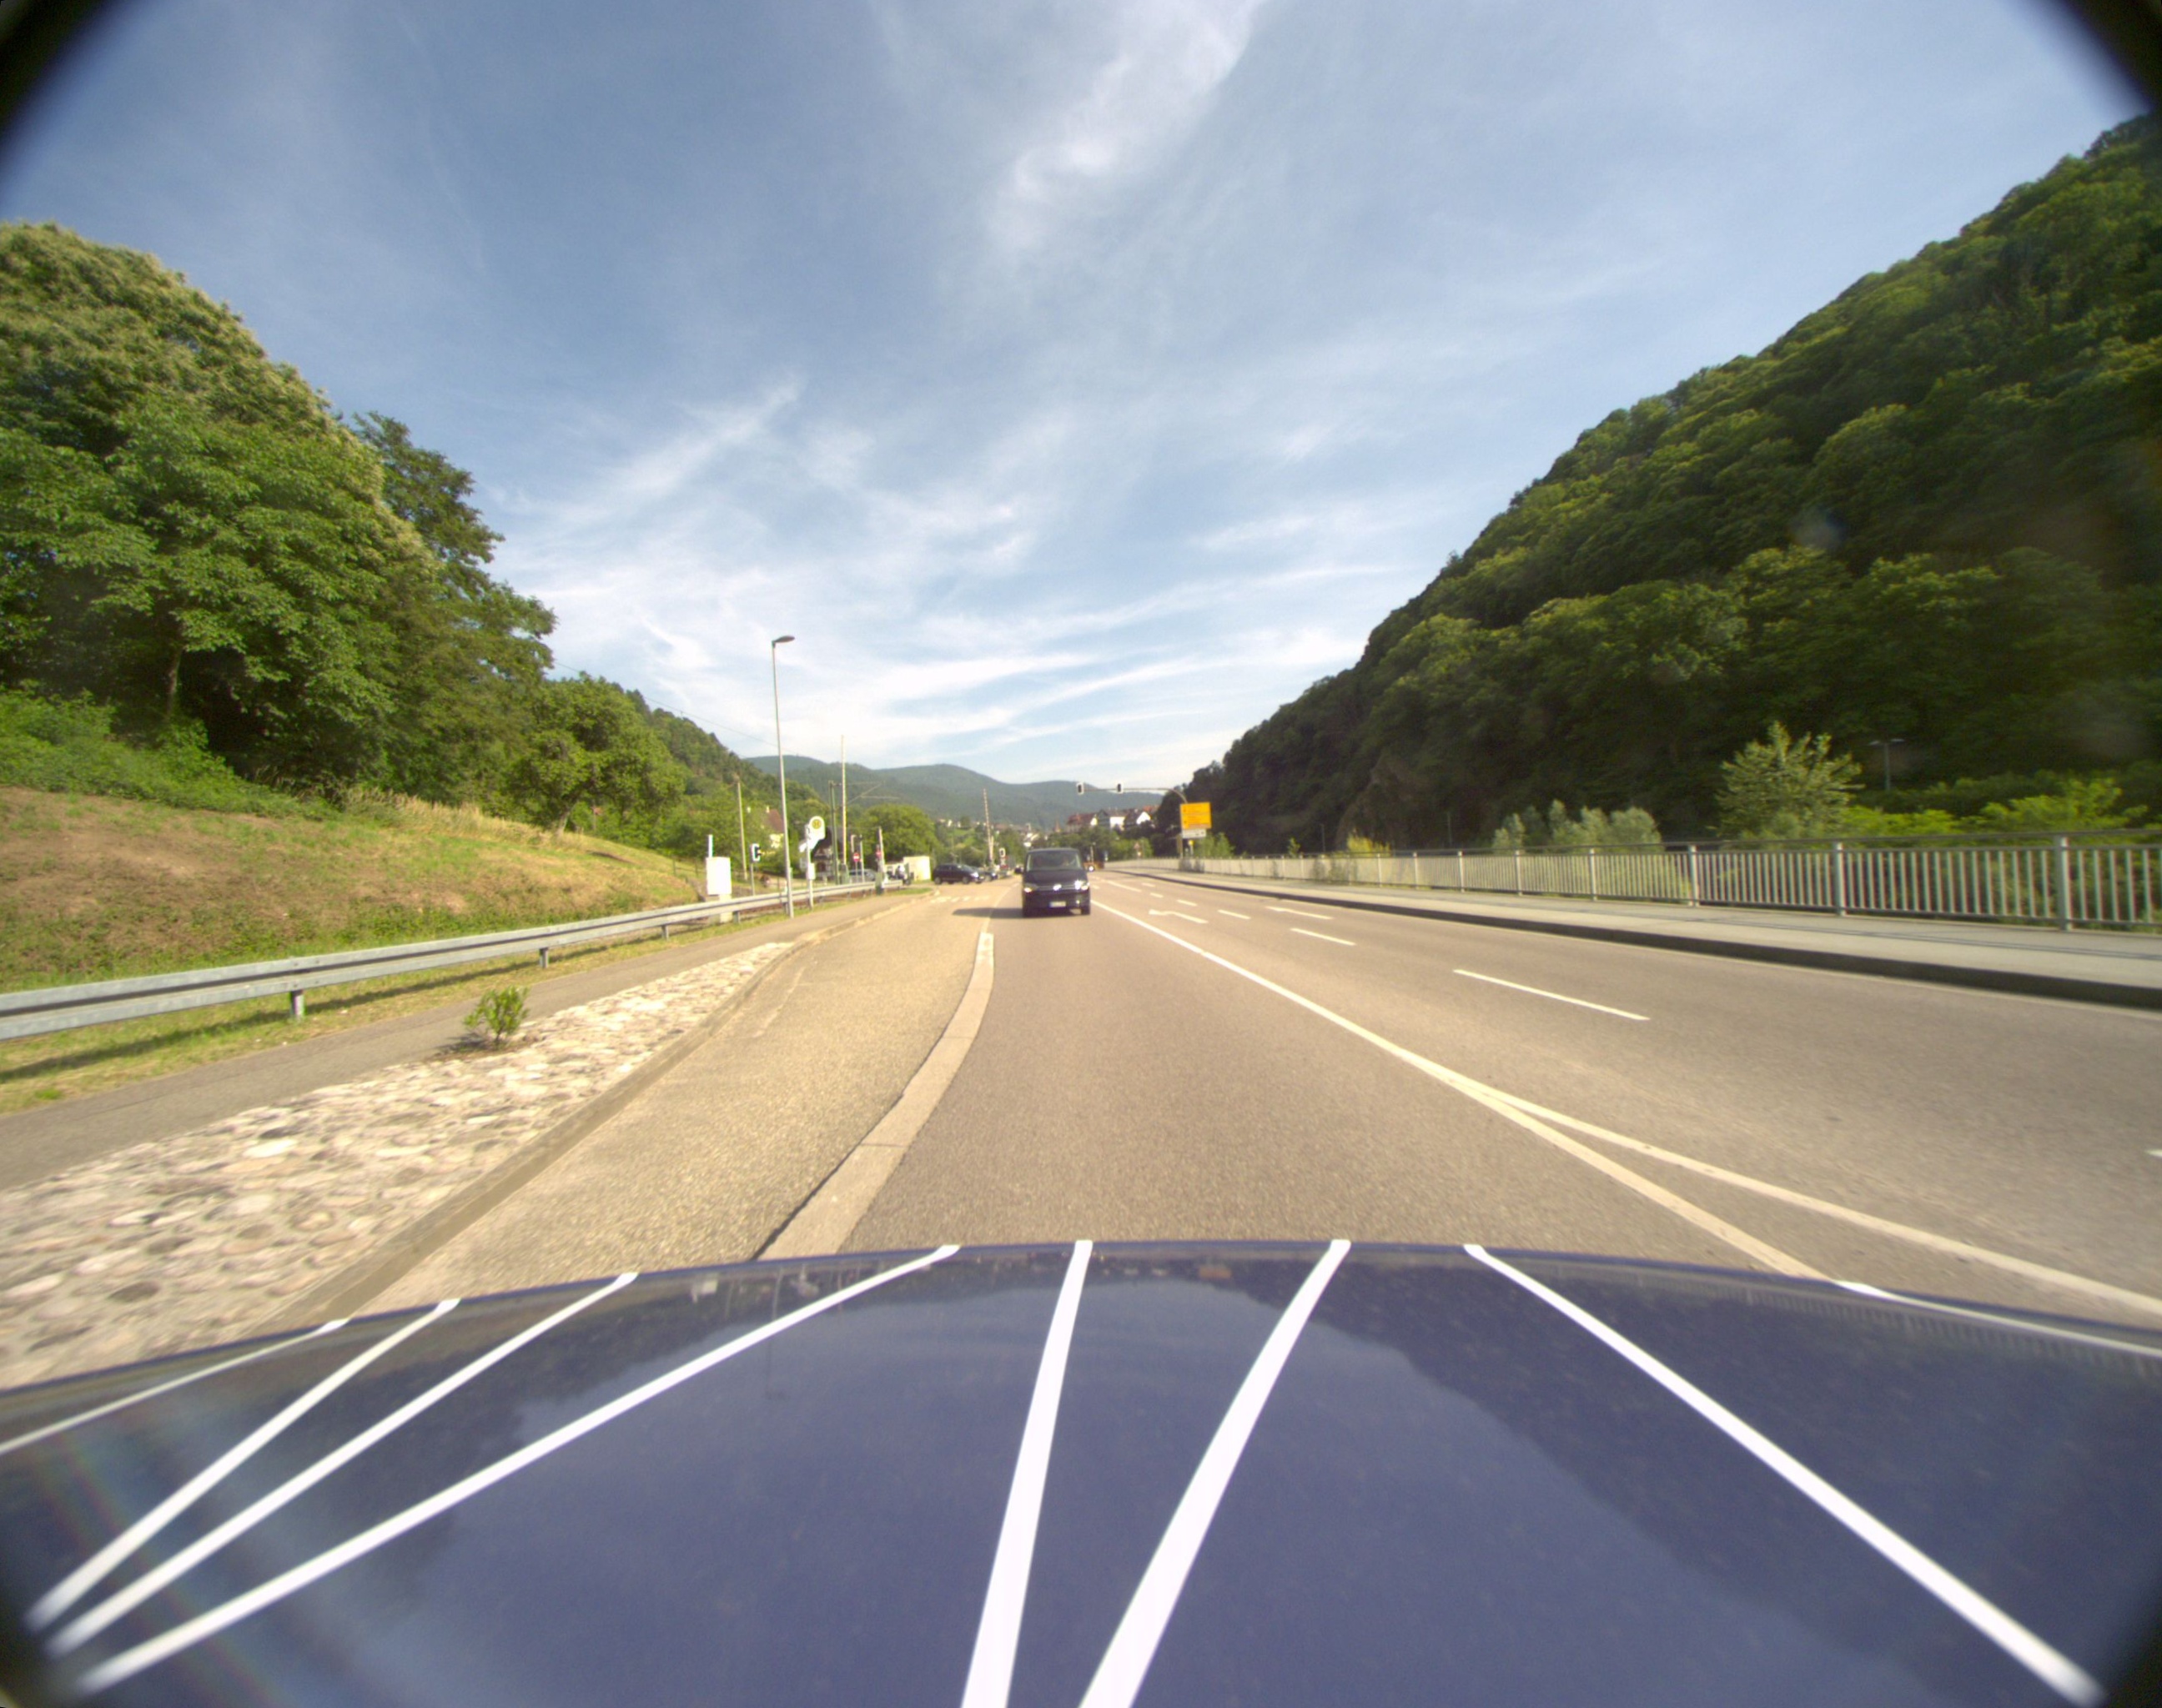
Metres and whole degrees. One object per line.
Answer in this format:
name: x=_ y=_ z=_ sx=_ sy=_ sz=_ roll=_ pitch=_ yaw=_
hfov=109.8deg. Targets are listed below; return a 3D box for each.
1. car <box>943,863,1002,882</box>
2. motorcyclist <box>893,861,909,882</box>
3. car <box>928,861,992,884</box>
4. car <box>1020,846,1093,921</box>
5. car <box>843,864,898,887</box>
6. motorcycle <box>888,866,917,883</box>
car: x=-9.325 y=1.571 z=65.654 sx=4.738 sy=1.461 sz=1.842 roll=-2 pitch=0 yaw=0
motorcyclist: x=-14.549 y=1.414 z=61.500 sx=0.908 sy=1.587 sz=0.766 roll=-4 pitch=0 yaw=14
car: x=-9.455 y=1.455 z=59.363 sx=4.730 sy=1.649 sz=1.934 roll=-2 pitch=-2 yaw=28
car: x=-0.719 y=0.808 z=22.633 sx=1.865 sy=1.936 sz=4.638 roll=-2 pitch=0 yaw=-2
car: x=-18.272 y=1.892 z=66.096 sx=4.120 sy=1.677 sz=1.836 roll=-4 pitch=0 yaw=10
motorcycle: x=-14.451 y=1.640 z=61.483 sx=2.096 sy=1.247 sz=0.800 roll=-4 pitch=0 yaw=15
